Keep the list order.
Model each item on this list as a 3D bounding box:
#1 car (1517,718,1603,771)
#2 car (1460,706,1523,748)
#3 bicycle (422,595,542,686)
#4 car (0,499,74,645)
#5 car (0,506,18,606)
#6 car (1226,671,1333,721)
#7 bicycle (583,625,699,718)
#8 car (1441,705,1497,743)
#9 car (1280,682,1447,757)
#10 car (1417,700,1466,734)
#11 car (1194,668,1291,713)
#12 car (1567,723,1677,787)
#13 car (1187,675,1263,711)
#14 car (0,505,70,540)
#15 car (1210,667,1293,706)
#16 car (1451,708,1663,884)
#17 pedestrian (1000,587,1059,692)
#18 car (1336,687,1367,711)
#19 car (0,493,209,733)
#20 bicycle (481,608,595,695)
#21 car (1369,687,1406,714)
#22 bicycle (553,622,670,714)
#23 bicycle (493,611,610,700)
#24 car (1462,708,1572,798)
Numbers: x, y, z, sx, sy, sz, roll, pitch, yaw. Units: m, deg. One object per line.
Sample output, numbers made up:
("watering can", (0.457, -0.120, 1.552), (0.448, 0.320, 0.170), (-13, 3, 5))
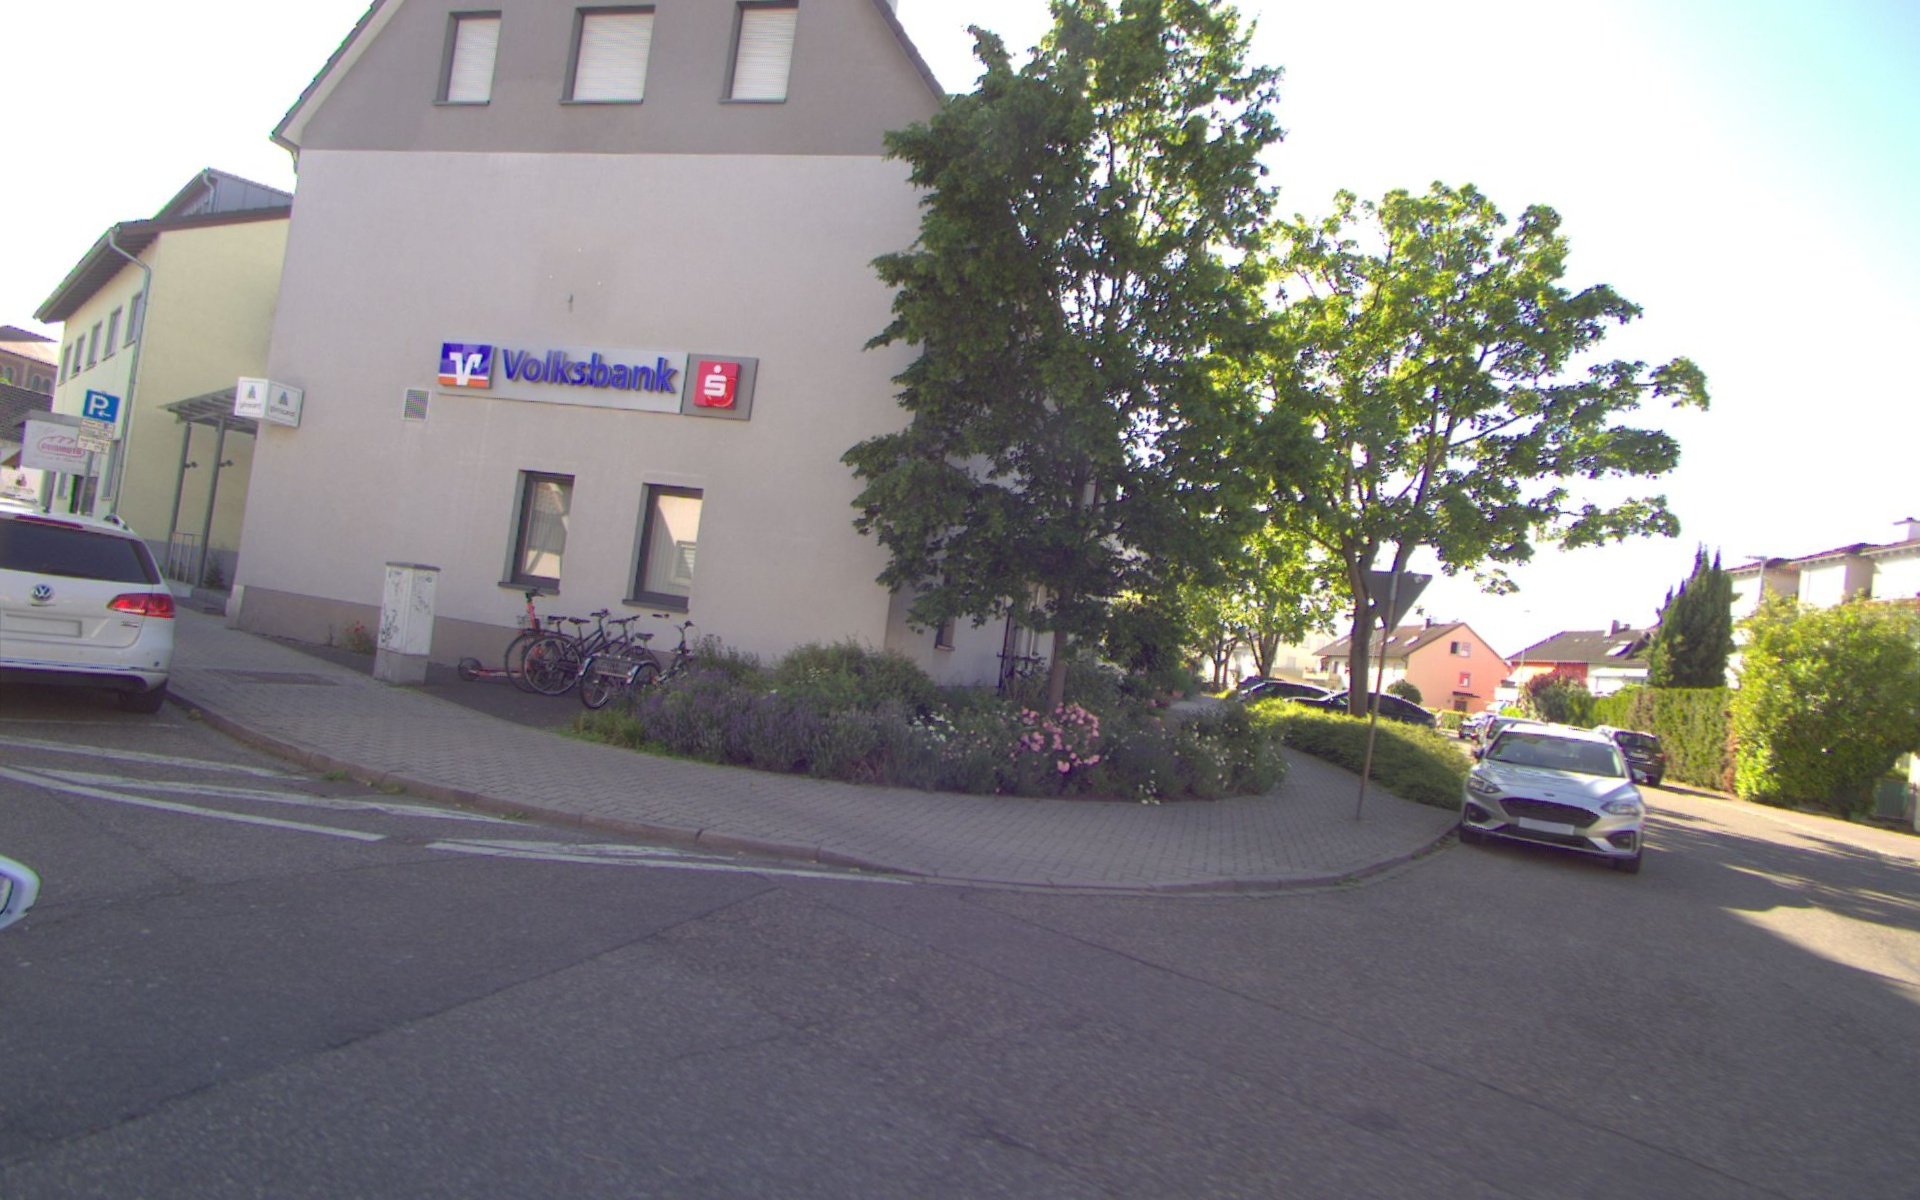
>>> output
("car", (22.239, 5.318, 37.422), (1.666, 1.516, 3.728), (6, -2, 15))
("car", (24.832, 5.906, 47.093), (1.666, 1.516, 3.728), (6, -2, 15))
("bicycle", (-5.937, 0.518, 12.519), (1.216, 0.987, 0.317), (9, -1, -36))
("car", (-12.151, -0.527, 12.019), (3.914, 1.537, 1.611), (6, -4, 40))
("car", (-16.192, -0.910, 15.663), (3.821, 1.491, 1.726), (6, -4, 42))
("car", (13.075, 3.897, 41.167), (3.926, 1.426, 1.801), (7, -1, 21))
("bicycle", (-3.521, 0.812, 11.174), (0.308, 0.930, 1.163), (7, -2, 38))
("car", (25.767, 6.269, 51.014), (1.666, 1.516, 3.728), (6, -2, 15))
("car", (11.195, 3.287, 27.999), (3.935, 1.426, 1.797), (7, -2, 33))
("car", (26.729, 6.480, 55.958), (1.666, 1.516, 3.728), (6, -2, 15))
("car", (12.791, 4.057, 45.517), (3.926, 1.426, 1.801), (7, -1, 21))
("car", (20.785, 4.823, 31.738), (1.666, 1.516, 3.728), (6, -2, 15))
("car", (15.216, 5.320, 57.751), (3.926, 1.426, 1.801), (7, -1, 21))
("car", (-53.219, -4.481, 57.052), (3.896, 1.509, 1.828), (9, -2, -39))
("car", (15.150, 4.499, 52.277), (3.926, 1.426, 1.801), (7, -1, 21))
("car", (7.343, 2.247, 12.507), (1.784, 1.511, 4.300), (7, -2, 31))
("pedestrian", (1.436, 0.823, 20.741), (0.753, 2.037, 0.775), (7, -1, 24))
("car", (29.858, 7.562, 76.847), (1.666, 1.516, 3.728), (7, -2, 15))
("car", (-7.812, -0.083, 8.206), (4.446, 1.531, 1.844), (6, -3, 43))
("bicycle", (-5.144, 0.639, 12.297), (1.159, 0.930, 0.309), (9, -2, -42))
("car", (29.548, 6.958, 69.663), (1.666, 1.516, 3.728), (7, -2, 15))
("bicycle", (-3.896, 0.779, 11.308), (0.308, 0.930, 1.163), (7, -2, 38))
("bicycle", (-4.859, 0.671, 11.999), (1.159, 0.930, 0.309), (9, -2, -42))
("car", (12.294, 3.282, 22.160), (1.784, 1.511, 4.300), (7, -2, 31))
